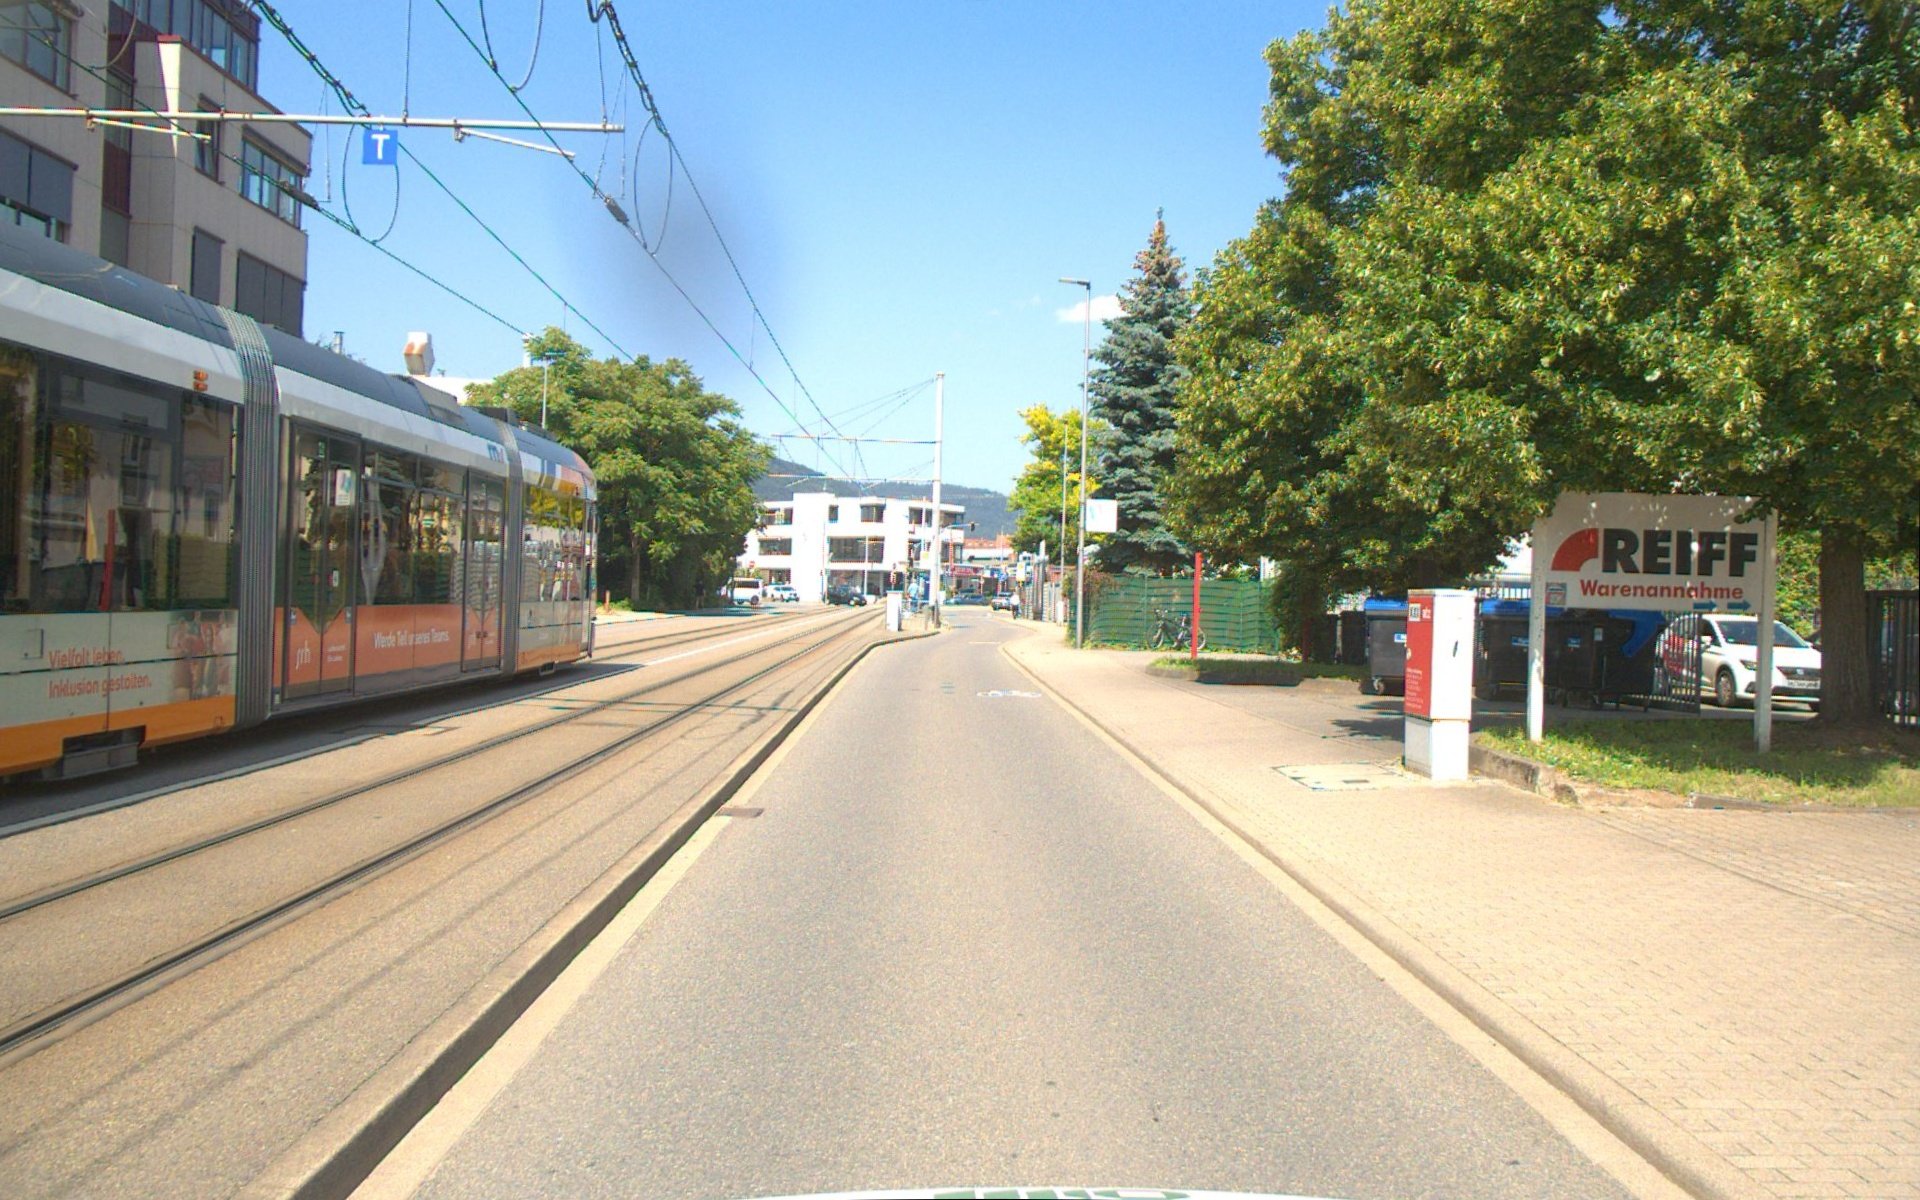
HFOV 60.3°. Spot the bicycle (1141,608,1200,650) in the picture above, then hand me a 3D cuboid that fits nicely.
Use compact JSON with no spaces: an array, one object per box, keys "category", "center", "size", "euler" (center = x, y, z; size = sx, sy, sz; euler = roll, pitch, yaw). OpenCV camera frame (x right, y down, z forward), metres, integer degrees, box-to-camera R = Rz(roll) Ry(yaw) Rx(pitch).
[{"category":"bicycle","center":[5.363,0.735,42.149],"size":[1.441,1.008,0.388],"euler":[2,-3,-2]}]

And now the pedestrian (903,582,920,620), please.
[{"category":"pedestrian","center":[-2.278,0.058,77.911],"size":[0.728,1.771,0.727],"euler":[1,0,-2]}]

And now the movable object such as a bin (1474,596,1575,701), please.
[{"category":"movable object such as a bin","center":[8.245,0.714,24.148],"size":[1.290,1.455,0.884],"euler":[2,-2,24]}]

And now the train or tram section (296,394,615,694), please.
[{"category":"train or tram section","center":[-6.674,-0.668,22.913],"size":[2.528,3.507,6.360],"euler":[2,0,-2]}]

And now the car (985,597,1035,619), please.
[{"category":"car","center":[4.335,0.673,143.118],"size":[3.931,1.780,1.764],"euler":[2,0,-22]}]

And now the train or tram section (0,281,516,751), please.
[{"category":"train or tram section","center":[-6.522,-0.641,16.144],"size":[2.528,3.507,7.134],"euler":[2,0,-2]}]

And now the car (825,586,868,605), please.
[{"category":"car","center":[-9.651,-0.409,140.244],"size":[3.475,1.357,1.668],"euler":[5,2,42]}]

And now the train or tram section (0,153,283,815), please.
[{"category":"train or tram section","center":[-6.421,-0.638,10.050],"size":[2.558,3.507,5.009],"euler":[2,0,-2]}]

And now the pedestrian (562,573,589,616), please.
[{"category":"pedestrian","center":[-14.320,-0.202,61.619],"size":[0.817,1.564,0.838],"euler":[1,0,-2]}]

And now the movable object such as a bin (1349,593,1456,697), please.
[{"category":"movable object such as a bin","center":[6.580,0.672,24.565],"size":[1.356,1.455,0.990],"euler":[2,-2,24]}]

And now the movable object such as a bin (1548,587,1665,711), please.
[{"category":"movable object such as a bin","center":[8.705,0.661,22.326],"size":[0.959,1.574,1.319],"euler":[3,-2,-5]}]

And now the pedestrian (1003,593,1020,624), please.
[{"category":"pedestrian","center":[3.165,0.501,101.178],"size":[0.921,1.818,0.953],"euler":[2,1,-2]}]

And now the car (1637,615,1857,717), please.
[{"category":"car","center":[13.029,1.041,27.655],"size":[1.708,1.485,3.999],"euler":[2,0,-1]}]

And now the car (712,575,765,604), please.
[{"category":"car","center":[-16.762,-0.767,125.403],"size":[1.826,1.970,3.991],"euler":[4,1,31]}]

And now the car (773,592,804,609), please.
[{"category":"car","center":[-17.310,0.026,166.987],"size":[1.737,1.676,3.725],"euler":[1,0,-30]}]

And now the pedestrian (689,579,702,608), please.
[{"category":"pedestrian","center":[-14.384,-0.363,89.975],"size":[0.572,1.564,0.656],"euler":[1,0,-2]}]
